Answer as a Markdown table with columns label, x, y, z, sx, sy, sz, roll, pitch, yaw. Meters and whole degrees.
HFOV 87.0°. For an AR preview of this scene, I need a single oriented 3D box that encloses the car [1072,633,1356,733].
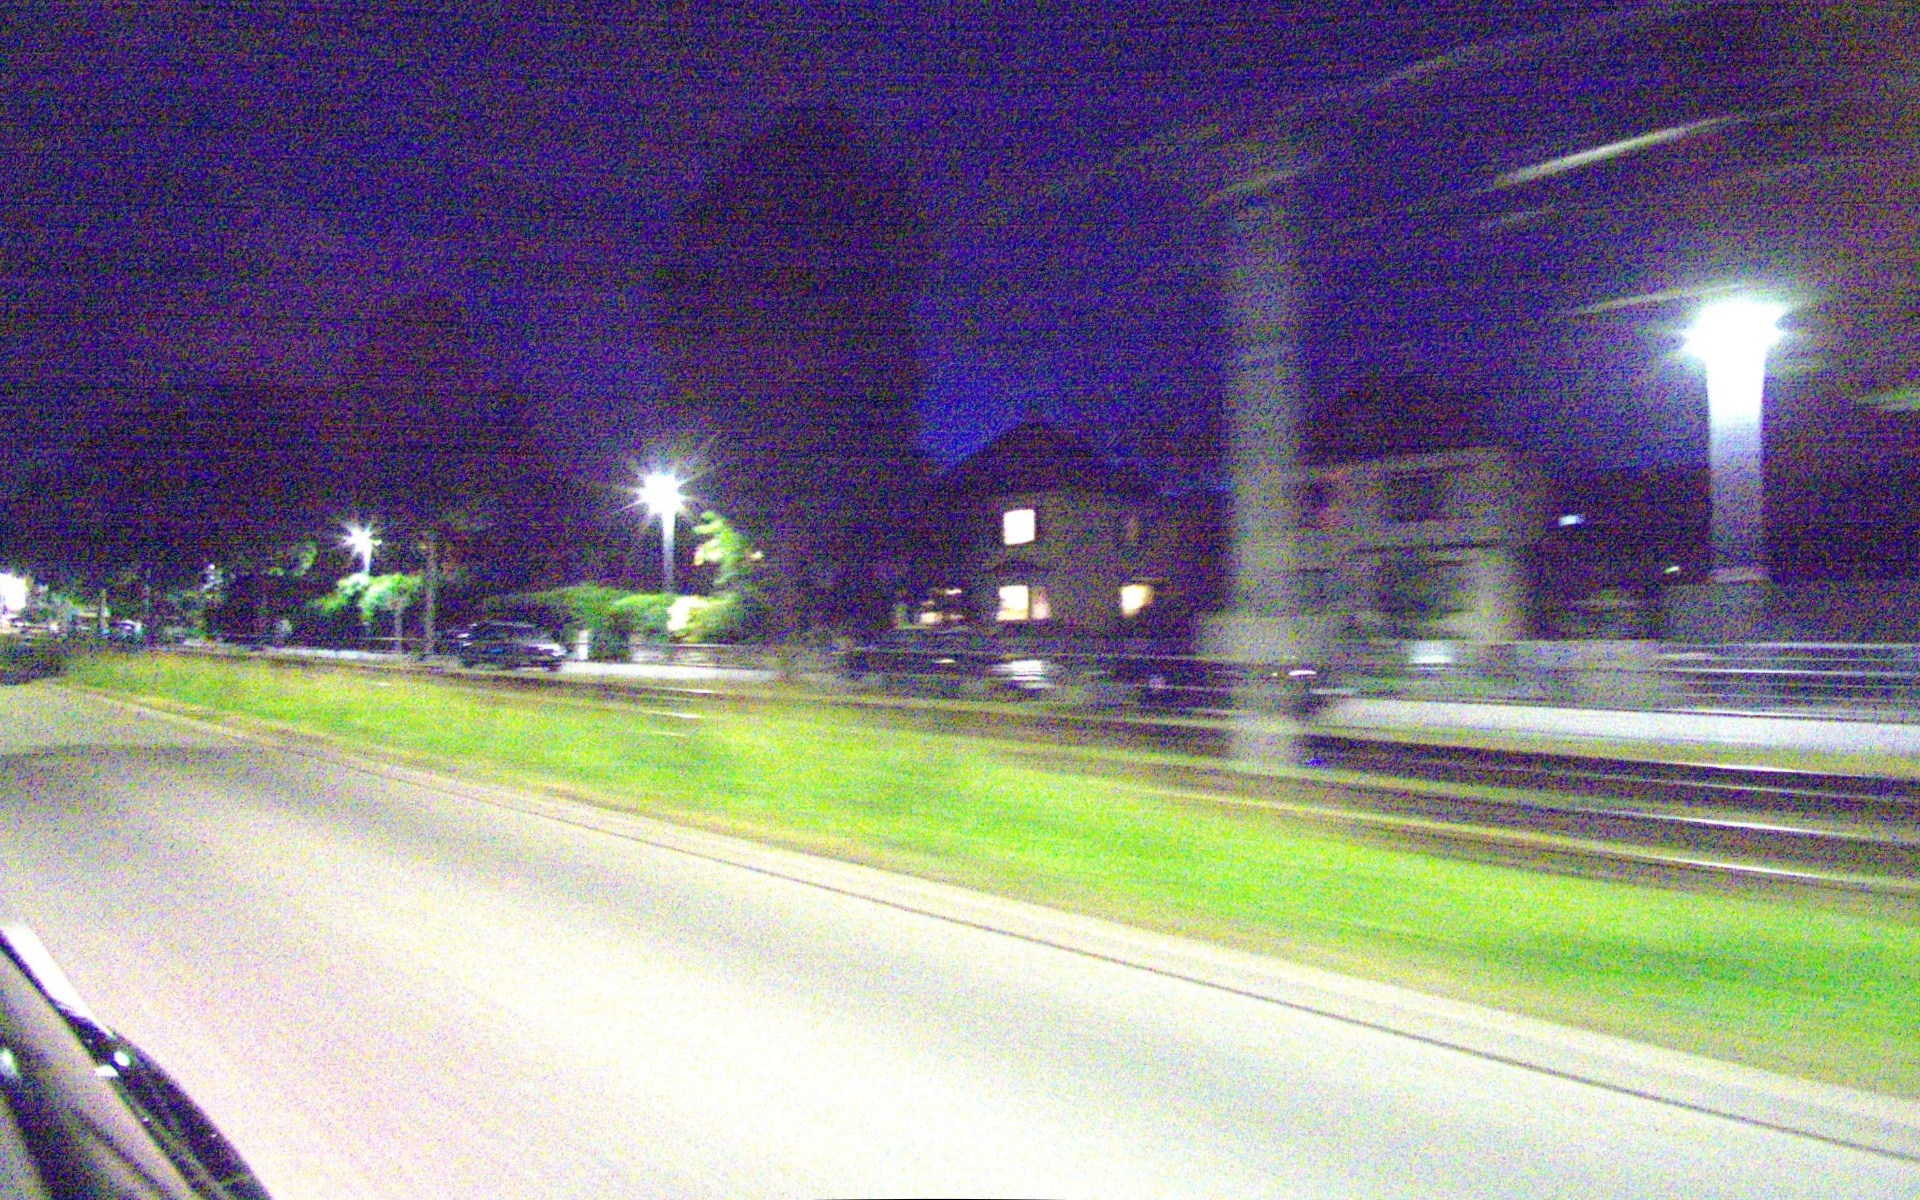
| label | x | y | z | sx | sy | sz | roll | pitch | yaw |
| --- | --- | --- | --- | --- | --- | --- | --- | --- | --- |
| car | 4.027 | 1.275 | 16.427 | 4.144 | 1.375 | 1.710 | -1 | -4 | 41 |

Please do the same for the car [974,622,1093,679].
| label | x | y | z | sx | sy | sz | roll | pitch | yaw |
| --- | --- | --- | --- | --- | --- | --- | --- | --- | --- |
| car | 2.418 | 1.570 | 32.545 | 1.887 | 1.554 | 3.948 | -1 | 0 | 39 |

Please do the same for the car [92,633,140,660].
| label | x | y | z | sx | sy | sz | roll | pitch | yaw |
| --- | --- | --- | --- | --- | --- | --- | --- | --- | --- |
| car | -61.300 | 3.349 | 73.483 | 4.721 | 1.784 | 2.096 | -1 | -4 | 44 |

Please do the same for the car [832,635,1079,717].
| label | x | y | z | sx | sy | sz | roll | pitch | yaw |
| --- | --- | --- | --- | --- | --- | --- | --- | --- | --- |
| car | -0.210 | 1.454 | 20.156 | 4.985 | 1.375 | 1.879 | -1 | -4 | 44 |

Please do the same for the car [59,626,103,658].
| label | x | y | z | sx | sy | sz | roll | pitch | yaw |
| --- | --- | --- | --- | --- | --- | --- | --- | --- | --- |
| car | -71.543 | 3.408 | 82.381 | 4.721 | 2.532 | 2.135 | -1 | -4 | 44 |

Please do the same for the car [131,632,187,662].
| label | x | y | z | sx | sy | sz | roll | pitch | yaw |
| --- | --- | --- | --- | --- | --- | --- | --- | --- | --- |
| car | -51.448 | 3.011 | 64.950 | 4.721 | 1.784 | 2.096 | -1 | -4 | 44 |

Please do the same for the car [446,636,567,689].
| label | x | y | z | sx | sy | sz | roll | pitch | yaw |
| --- | --- | --- | --- | --- | --- | --- | --- | --- | --- |
| car | -14.873 | 2.010 | 33.085 | 4.691 | 1.580 | 1.745 | -2 | -6 | 41 |
